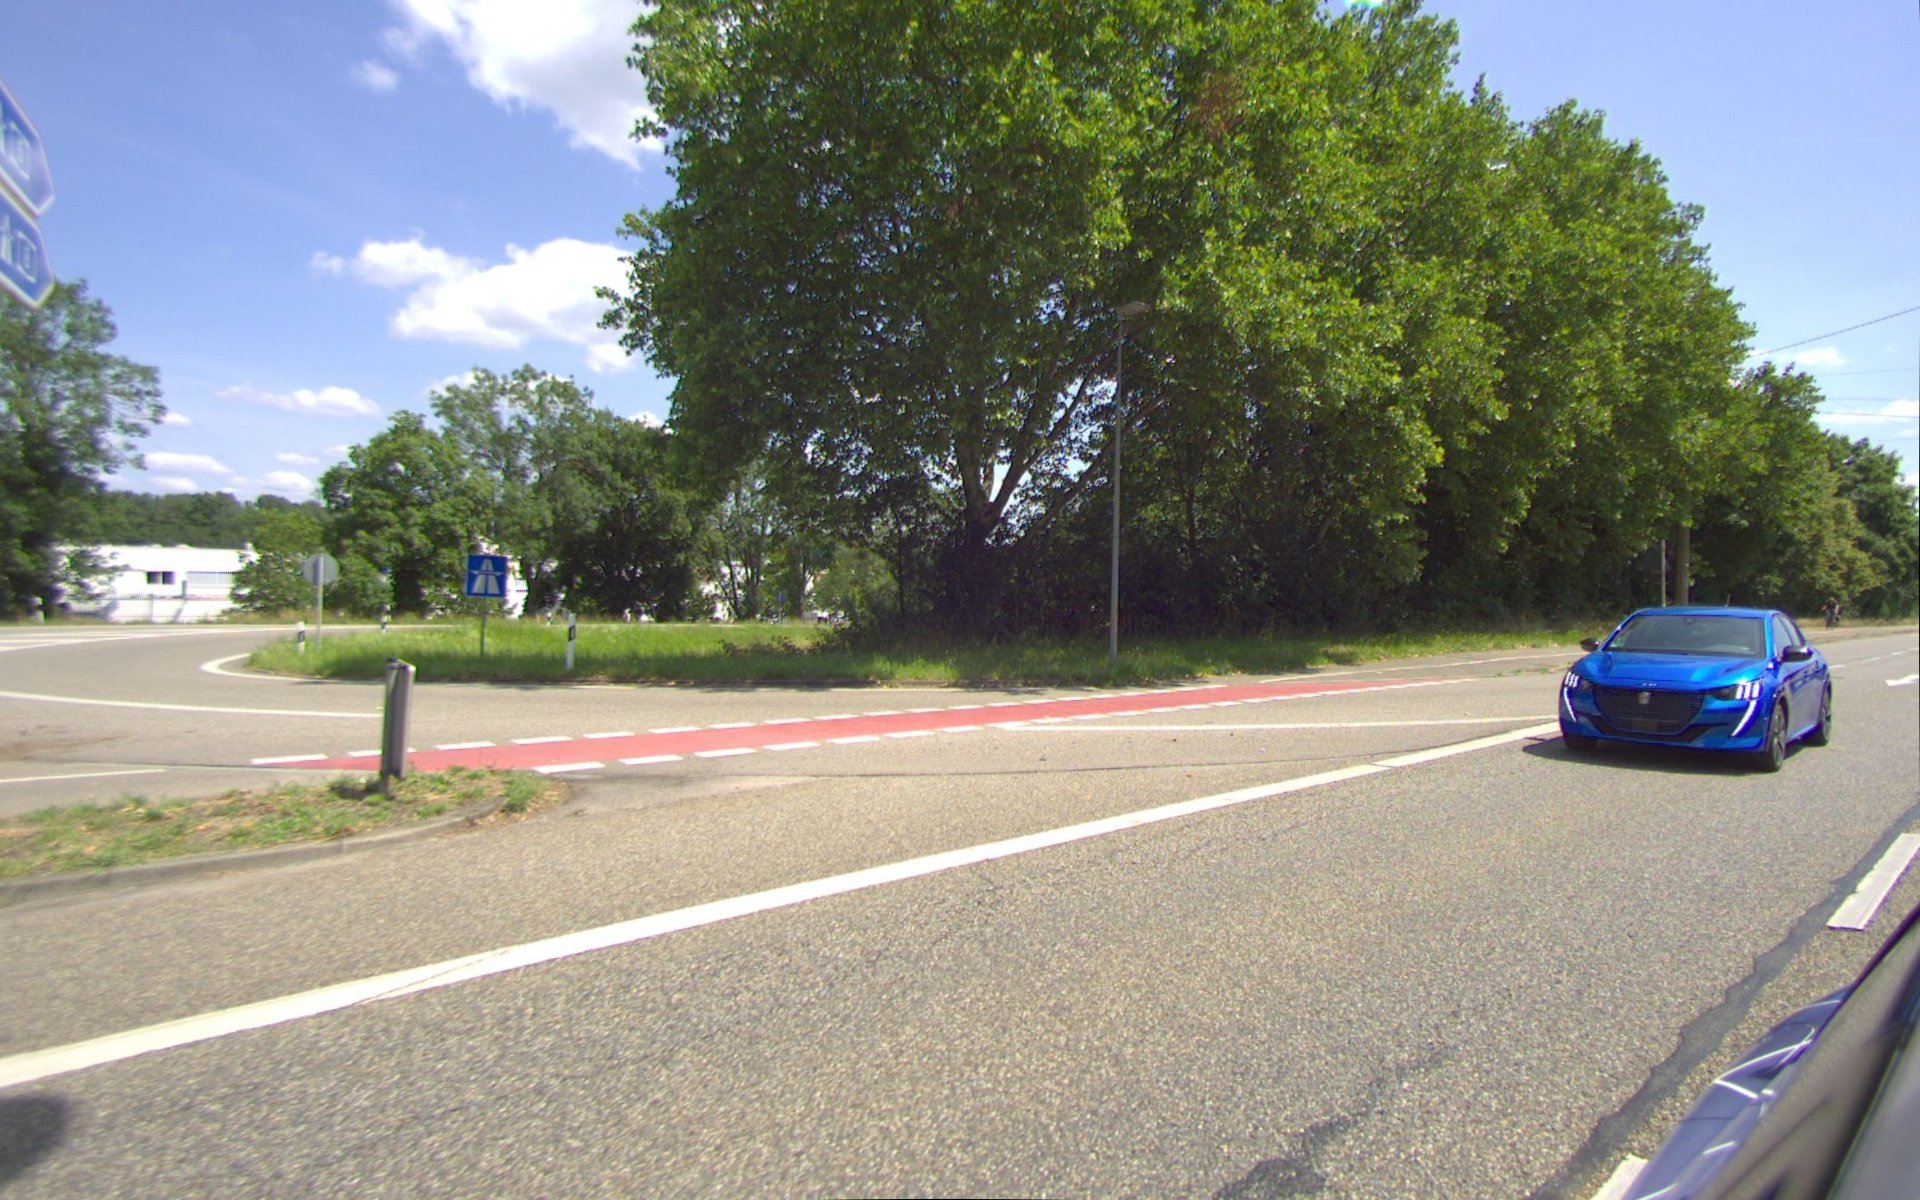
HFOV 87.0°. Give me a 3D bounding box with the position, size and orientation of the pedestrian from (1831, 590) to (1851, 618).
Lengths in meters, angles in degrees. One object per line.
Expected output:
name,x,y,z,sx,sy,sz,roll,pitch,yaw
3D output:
pedestrian,45.949,0.205,52.760,1.032,1.391,0.629,0,1,-41

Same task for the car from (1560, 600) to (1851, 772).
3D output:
car,7.675,0.718,10.309,3.679,1.423,1.658,0,0,-41

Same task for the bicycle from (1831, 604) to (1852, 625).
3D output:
bicycle,45.962,0.750,52.776,1.815,1.037,0.561,0,2,-41
